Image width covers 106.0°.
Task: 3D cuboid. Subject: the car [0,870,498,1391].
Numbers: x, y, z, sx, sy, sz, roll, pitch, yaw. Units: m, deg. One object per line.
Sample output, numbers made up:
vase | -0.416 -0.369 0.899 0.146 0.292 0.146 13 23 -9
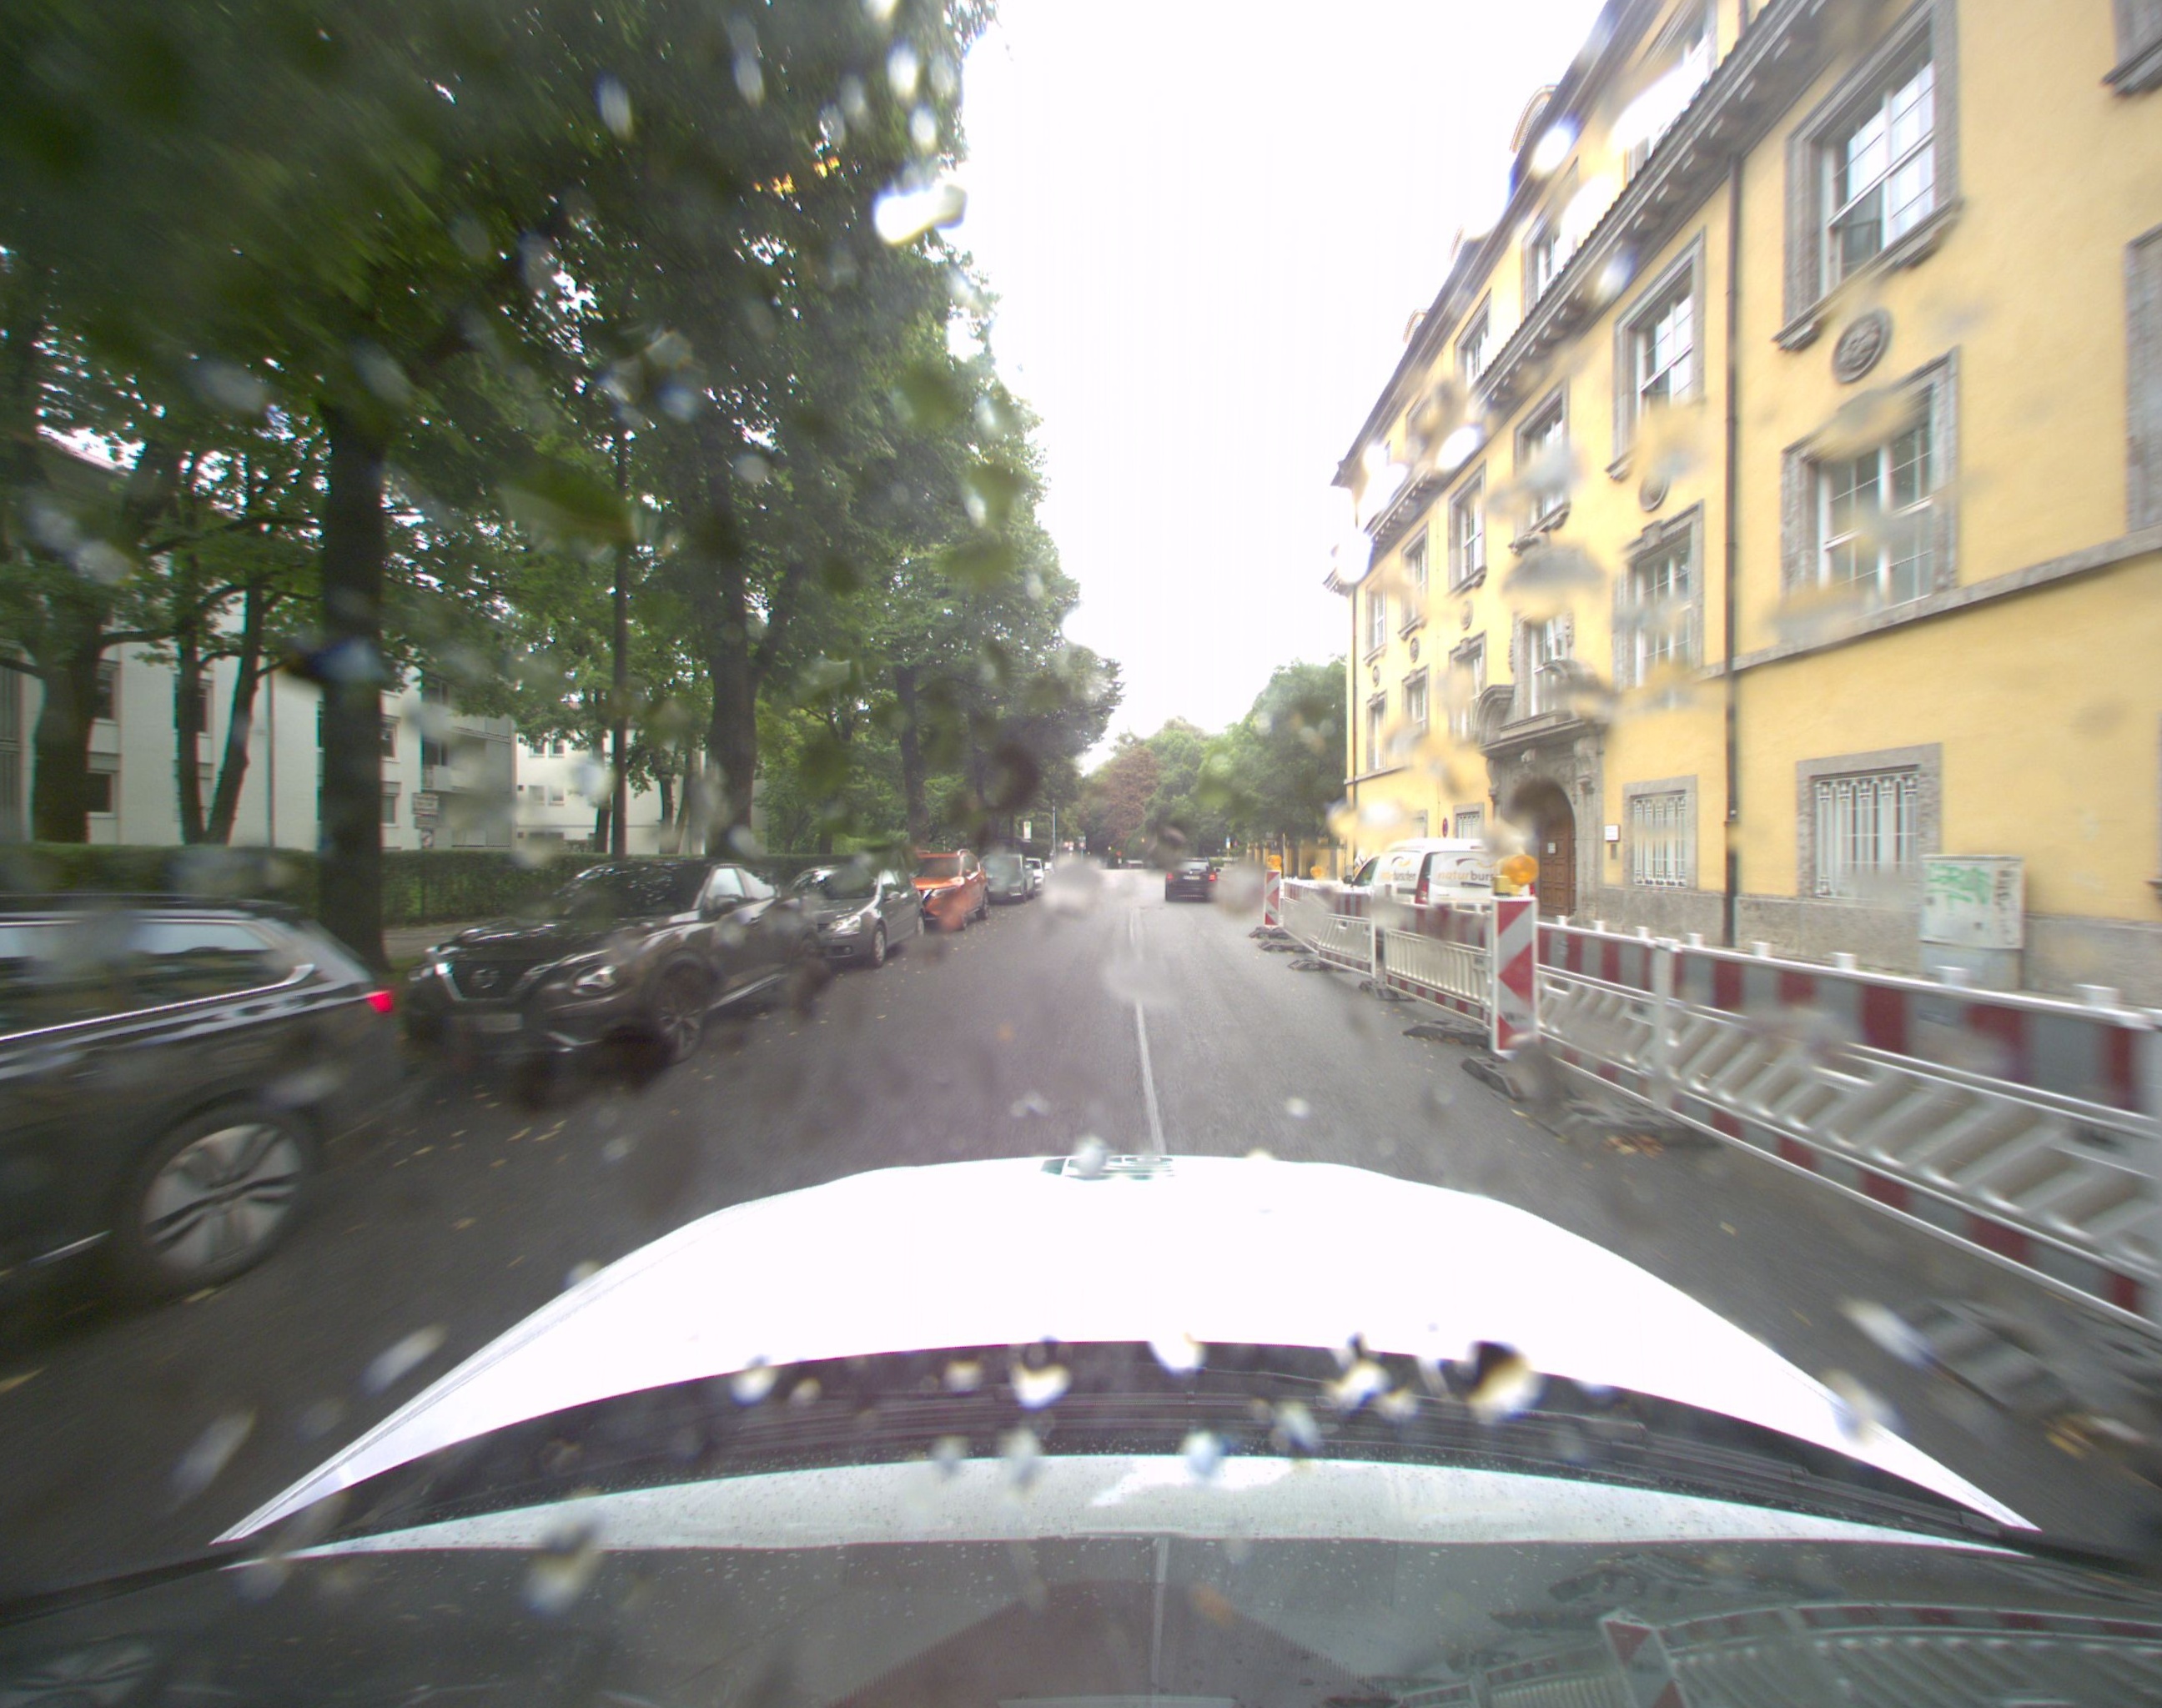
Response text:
car | -3.961 0.797 1.814 1.711 1.451 4.699 0 0 3

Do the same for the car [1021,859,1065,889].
car | -1.742 0.890 38.361 1.570 1.343 4.049 0 0 5

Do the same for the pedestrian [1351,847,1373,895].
pedestrian | 9.805 0.593 28.439 0.558 1.638 0.572 -2 0 2

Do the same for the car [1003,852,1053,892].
car | -2.092 0.699 33.054 1.571 1.497 4.202 0 0 2

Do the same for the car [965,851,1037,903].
car | -2.612 0.727 27.598 1.808 1.601 4.516 0 0 2

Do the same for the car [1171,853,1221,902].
car | 3.911 0.761 28.110 1.569 1.584 4.050 0 0 6

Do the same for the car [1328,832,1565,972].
car | 5.235 0.639 12.374 1.733 1.750 4.357 0 -1 1

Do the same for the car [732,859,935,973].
car | -3.565 0.814 12.604 1.721 1.423 4.253 0 0 2

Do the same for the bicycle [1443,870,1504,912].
bicycle | 10.131 0.927 21.087 0.677 1.006 2.058 0 -1 3

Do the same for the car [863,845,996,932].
car | -3.234 0.690 18.414 1.864 1.728 4.645 0 0 4

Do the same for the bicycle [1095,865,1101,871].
bicycle | 2.461 2.014 118.767 0.679 0.830 2.105 0 -1 -6

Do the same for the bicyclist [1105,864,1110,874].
bicyclist | 3.415 1.943 105.154 0.680 1.187 0.480 0 0 -8

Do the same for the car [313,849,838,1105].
car | -3.801 0.755 7.282 1.779 1.574 4.488 0 0 2

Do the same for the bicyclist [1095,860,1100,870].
bicyclist | 2.432 1.581 118.887 0.680 1.504 0.899 0 0 -6
